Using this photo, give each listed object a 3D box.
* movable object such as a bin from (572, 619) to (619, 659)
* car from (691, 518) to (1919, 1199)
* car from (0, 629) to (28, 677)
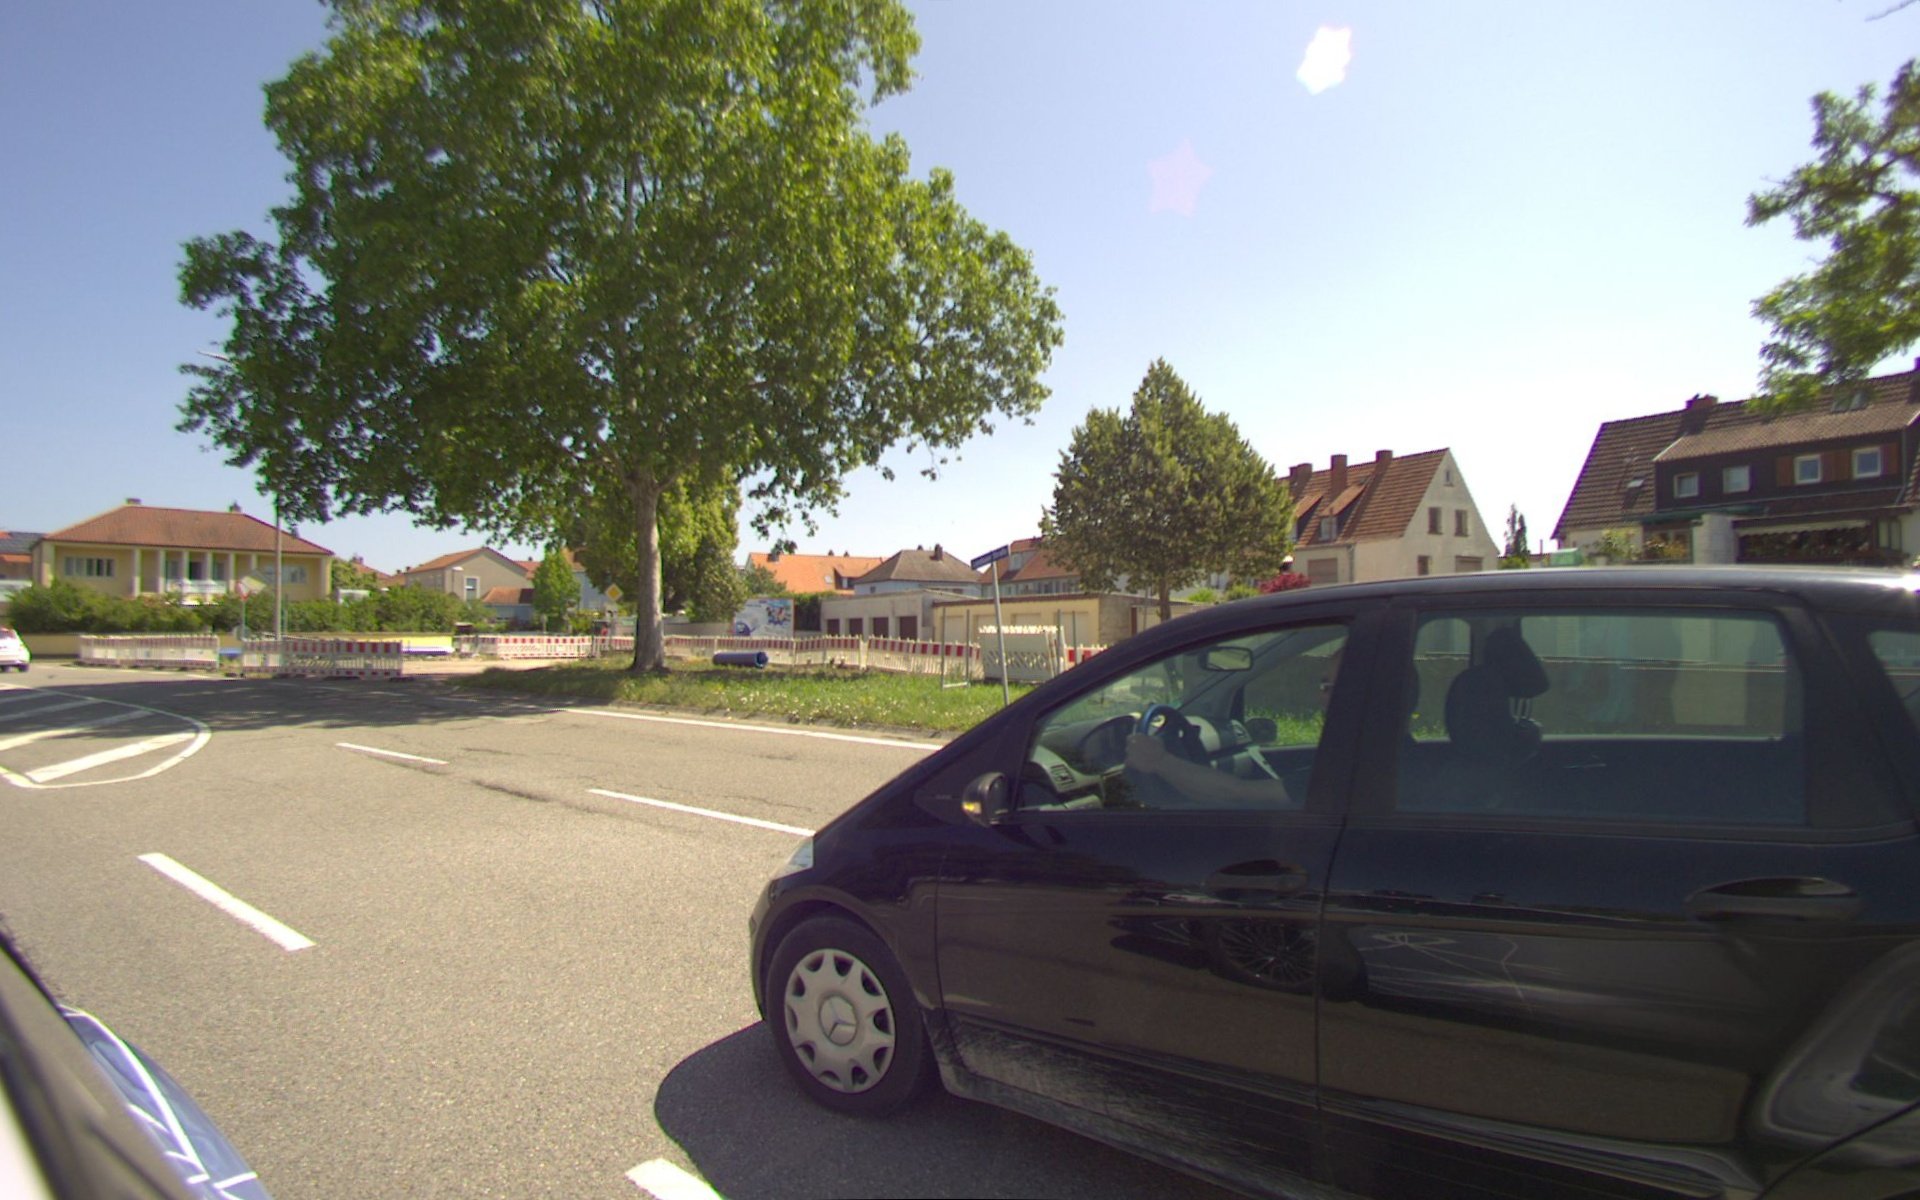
[{"bbox_3d":[-25.997,2.795,72.170,2.240,2.756,3.941,2,-3,-34],"label":"movable object such as a bin"},{"bbox_3d":[1.177,0.679,2.650,3.826,1.544,1.708,-2,-1,39],"label":"car"},{"bbox_3d":[-31.857,1.728,32.906,3.452,1.521,1.684,-2,-1,36],"label":"car"}]
